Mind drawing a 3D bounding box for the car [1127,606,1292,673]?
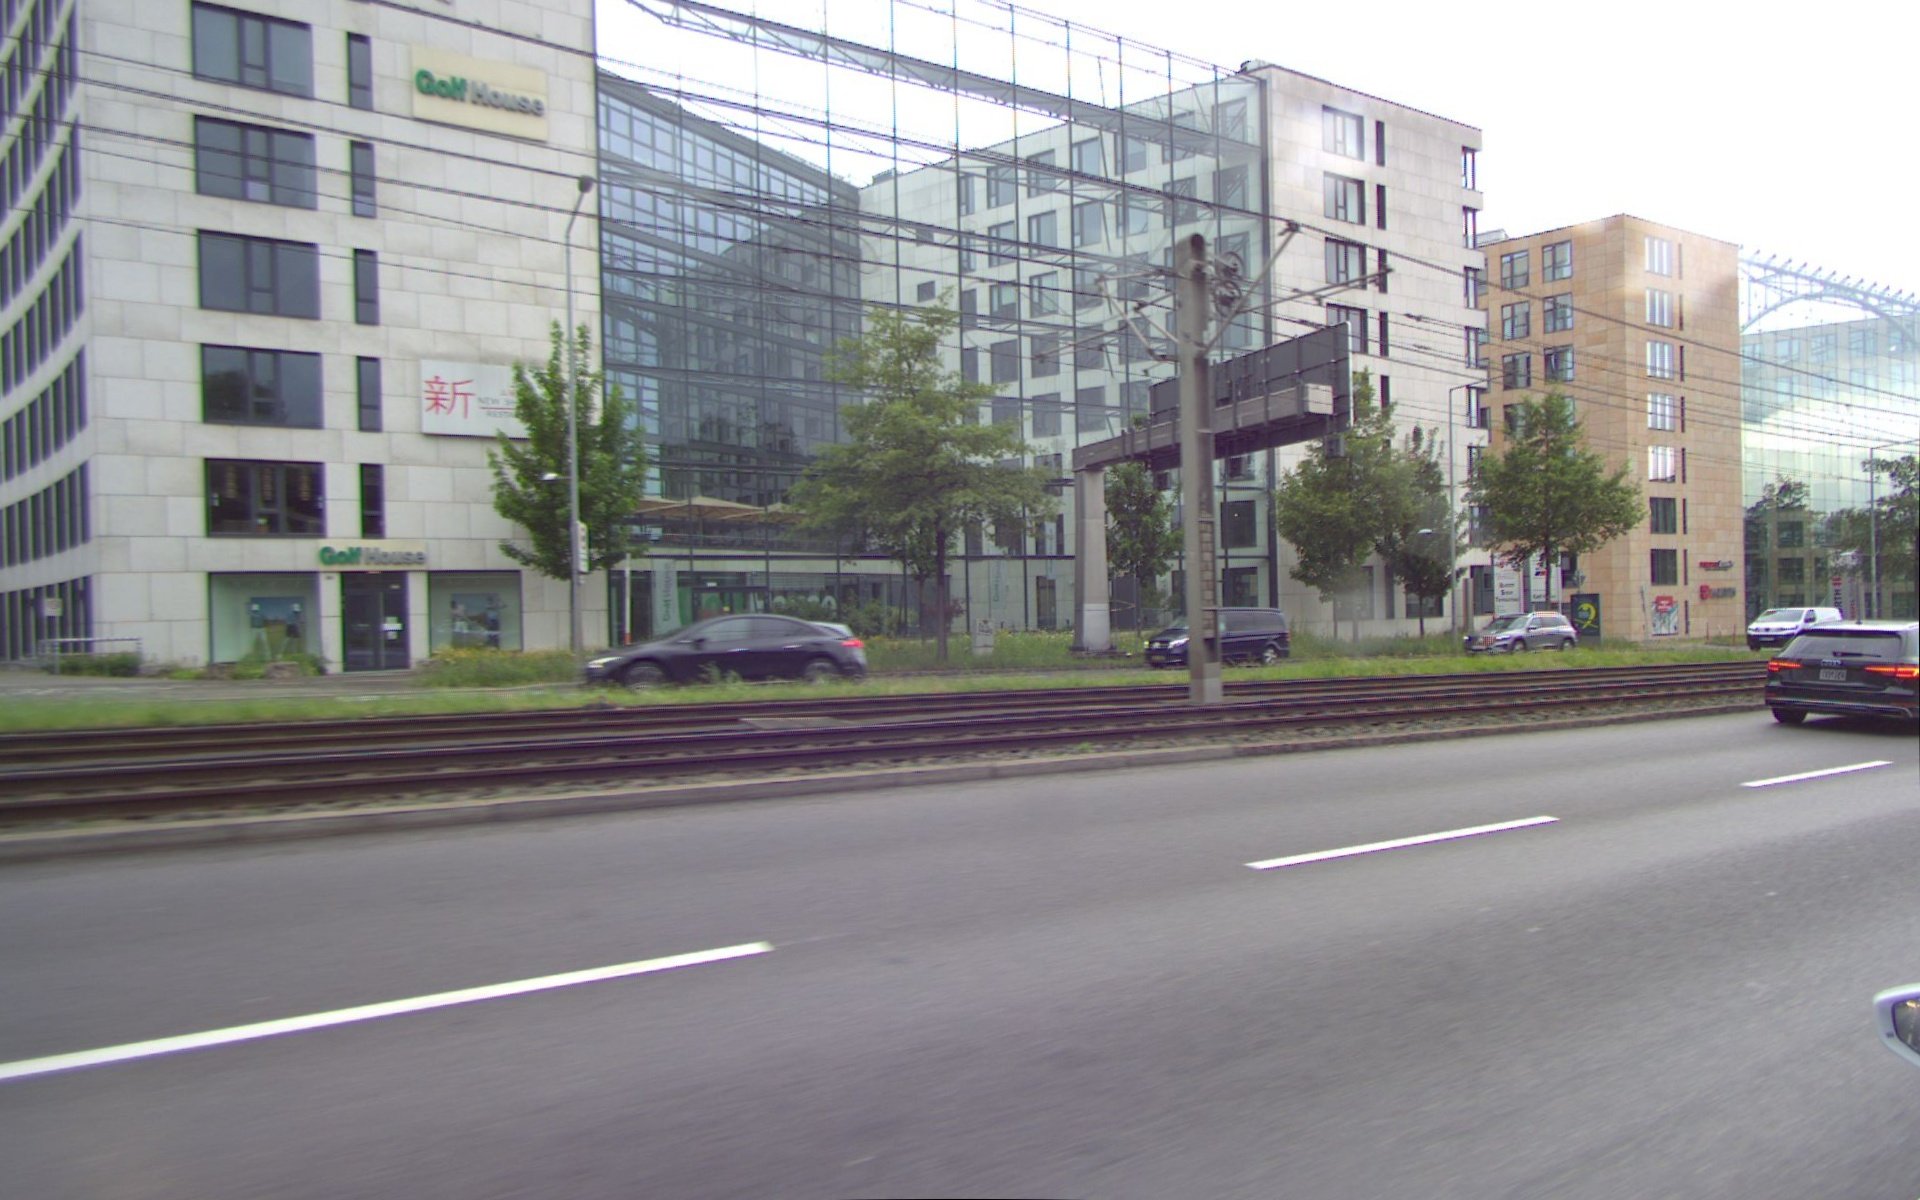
[{"bbox_3d":[8.021,1.216,32.195,5.069,1.978,2.050,0,1,-29],"label":"car"}]

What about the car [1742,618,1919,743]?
[{"bbox_3d":[13.008,0.991,13.929,4.749,1.432,1.777,0,0,-30],"label":"car"}]

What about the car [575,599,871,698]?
[{"bbox_3d":[-4.151,0.783,17.831,4.811,1.554,1.801,0,1,-30],"label":"car"}]

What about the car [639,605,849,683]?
[{"bbox_3d":[-4.758,0.925,22.252,4.222,1.554,1.802,1,1,-29],"label":"car"}]

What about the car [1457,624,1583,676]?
[{"bbox_3d":[19.682,1.706,35.266,4.435,1.627,1.802,1,1,-29],"label":"car"}]

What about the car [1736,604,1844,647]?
[{"bbox_3d":[36.469,1.090,44.121,4.999,1.785,1.929,1,1,-29],"label":"car"}]
